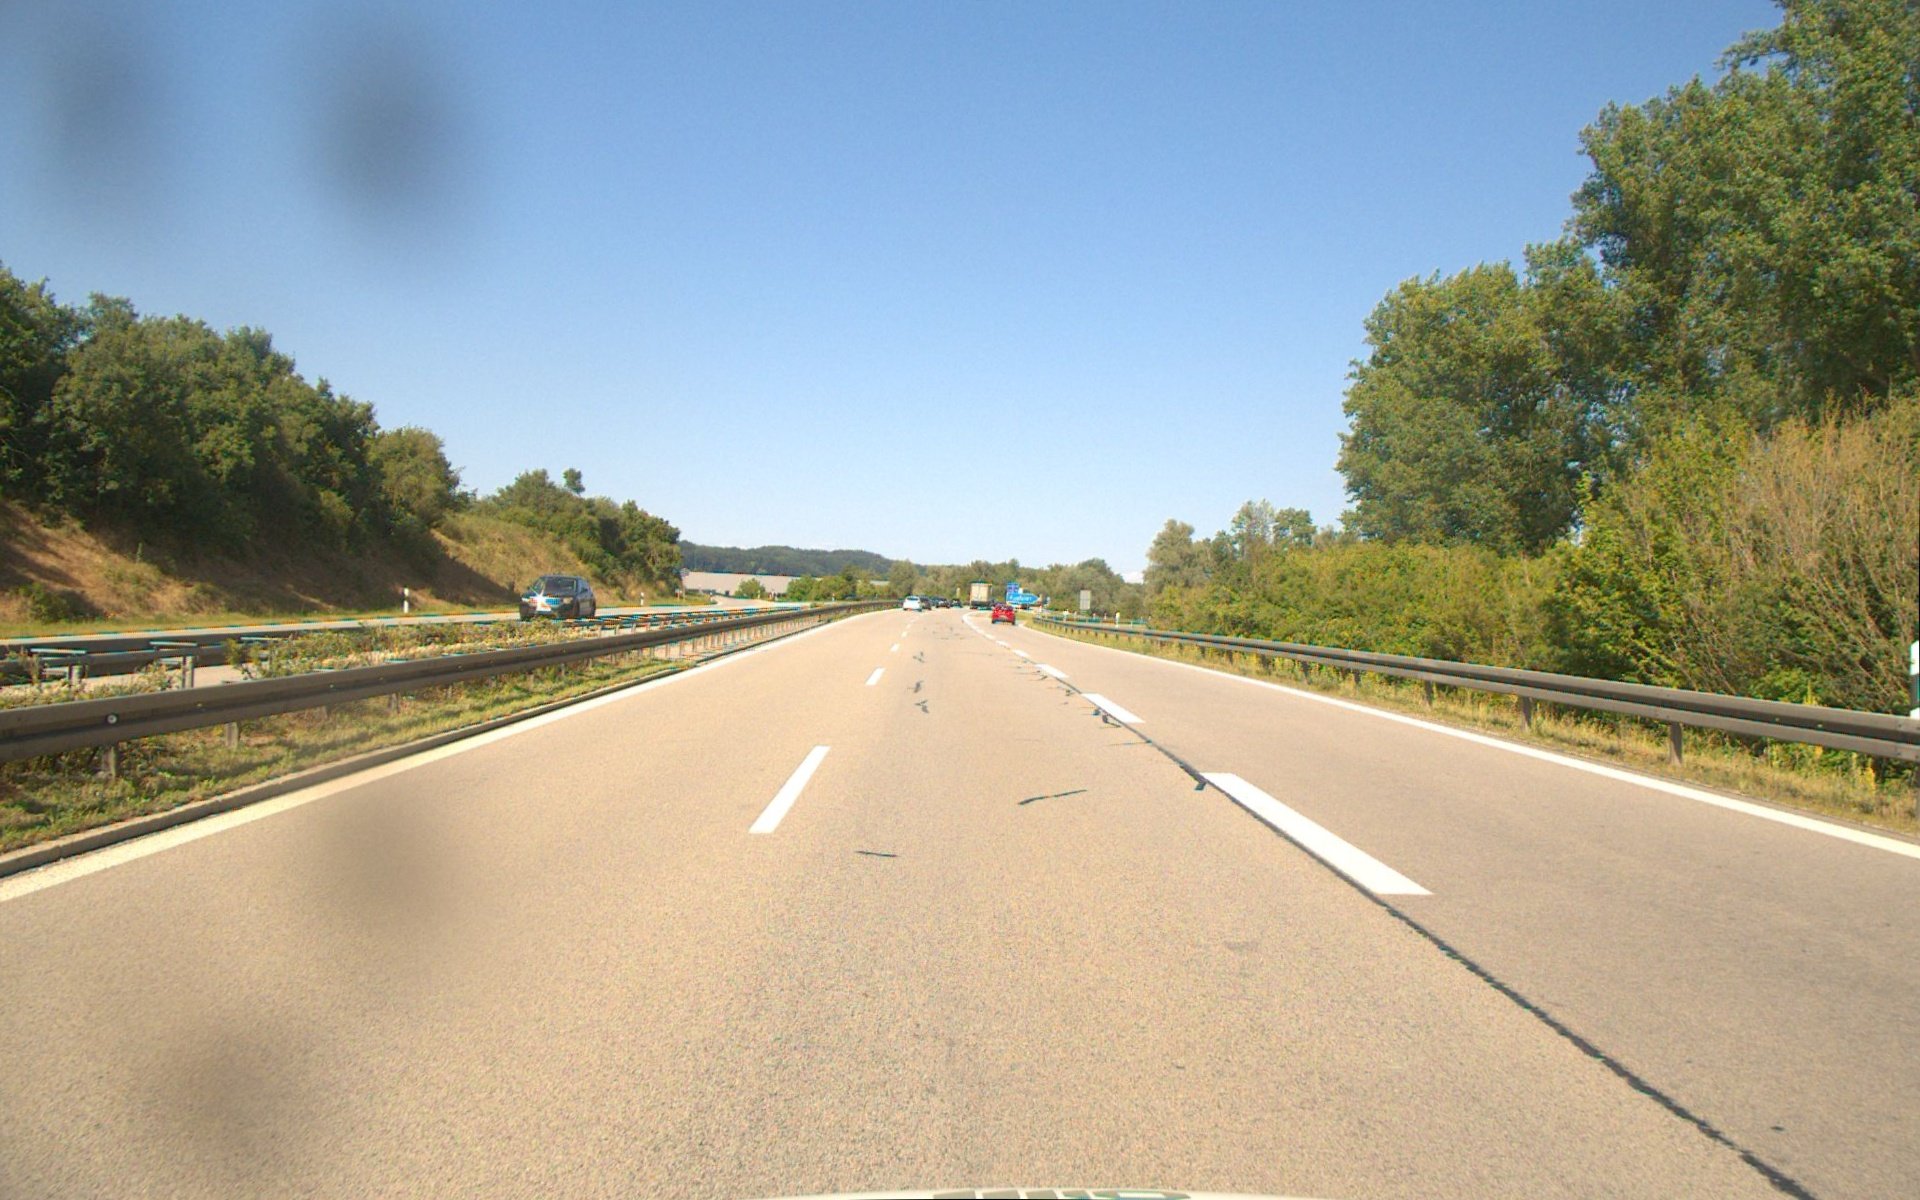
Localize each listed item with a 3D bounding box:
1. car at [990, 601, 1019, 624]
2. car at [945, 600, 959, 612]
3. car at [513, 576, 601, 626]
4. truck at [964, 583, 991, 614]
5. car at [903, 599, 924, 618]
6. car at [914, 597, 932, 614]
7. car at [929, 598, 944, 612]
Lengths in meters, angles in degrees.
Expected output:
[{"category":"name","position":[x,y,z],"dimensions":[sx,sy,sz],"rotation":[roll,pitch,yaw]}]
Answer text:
[{"category":"car","position":[3.313,0.957,122.747],"dimensions":[1.747,1.456,4.002],"rotation":[5,-1,6]},{"category":"car","position":[-1.258,0.872,256.667],"dimensions":[1.952,1.780,4.000],"rotation":[2,0,1]},{"category":"car","position":[-14.406,0.056,59.383],"dimensions":[1.953,1.673,5.082],"rotation":[1,-1,-1]},{"category":"truck","position":[2.621,-0.243,250.042],"dimensions":[3.758,4.474,11.474],"rotation":[1,0,2]},{"category":"car","position":[-4.634,0.851,165.240],"dimensions":[2.020,1.653,3.998],"rotation":[1,-2,-1]},{"category":"car","position":[-4.127,0.561,184.488],"dimensions":[1.953,1.780,3.999],"rotation":[2,0,-1]},{"category":"car","position":[-3.214,0.719,226.945],"dimensions":[1.953,1.780,3.999],"rotation":[2,0,-1]}]
